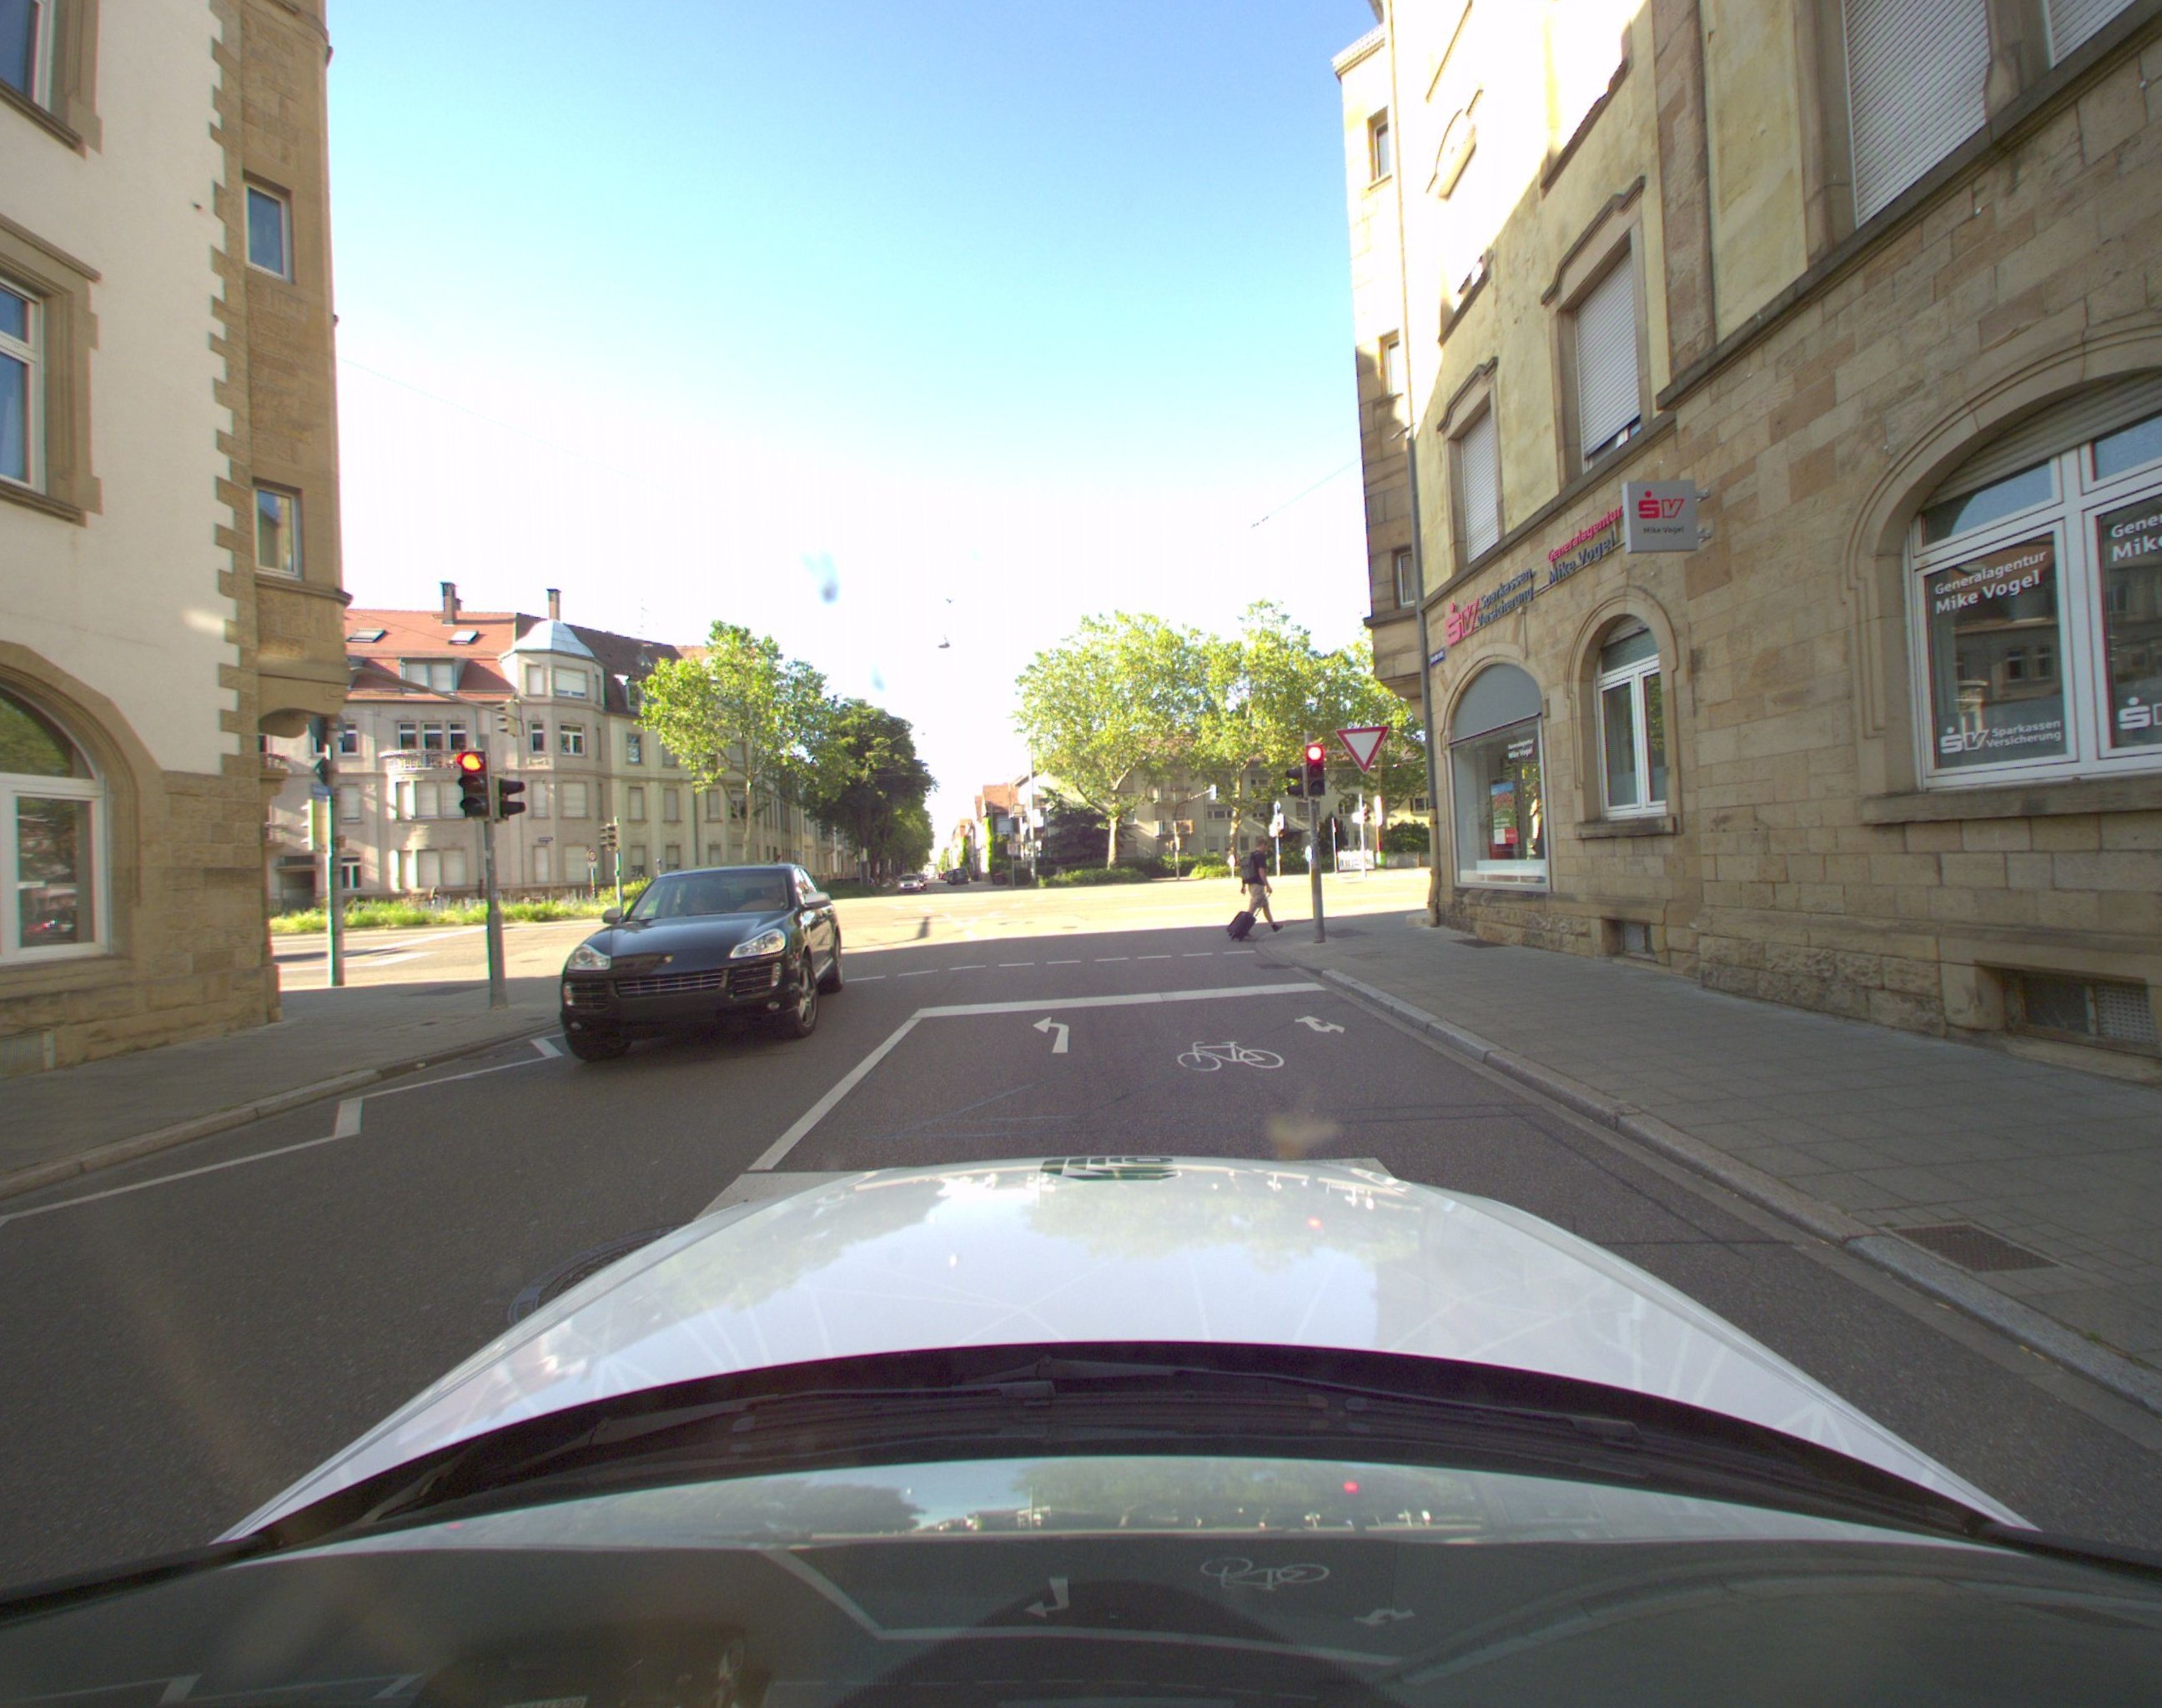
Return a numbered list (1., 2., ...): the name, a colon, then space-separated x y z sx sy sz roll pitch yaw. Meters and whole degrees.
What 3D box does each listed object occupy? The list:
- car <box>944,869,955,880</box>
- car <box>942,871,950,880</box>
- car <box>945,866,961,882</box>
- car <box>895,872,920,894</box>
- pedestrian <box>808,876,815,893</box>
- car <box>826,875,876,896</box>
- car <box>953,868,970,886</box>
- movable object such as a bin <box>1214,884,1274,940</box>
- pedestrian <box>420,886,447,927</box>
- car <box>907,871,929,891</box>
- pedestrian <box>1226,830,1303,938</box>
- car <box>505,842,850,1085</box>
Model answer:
1. car: -23.753 3.690 147.201 1.773 1.918 3.522 -4 0 -10
2. car: -30.129 4.795 181.744 1.773 1.918 3.522 -4 0 -10
3. car: -16.565 2.540 105.219 1.773 1.918 3.522 -4 0 -10
4. car: -13.593 2.260 63.833 1.698 1.483 3.522 -4 0 -10
5. pedestrian: -22.058 2.492 66.671 0.489 1.442 0.702 0 -1 -13
6. car: -17.950 2.463 63.730 3.636 1.457 1.650 -2 0 -14
7. car: -13.953 2.689 95.030 1.773 1.918 3.522 -4 0 -10
8. movable object such as a bin: 2.853 1.001 14.268 0.862 0.892 0.507 -3 0 -11
9. pedestrian: -33.011 2.680 41.533 0.836 2.014 0.749 0 -1 -15
10. car: -13.988 2.315 69.994 1.698 1.483 3.522 -4 0 -10
11. pedestrian: 3.325 0.529 14.822 1.066 1.848 0.746 -4 0 -11
12. car: -3.766 0.881 8.679 2.074 1.694 4.689 -4 -1 -12
